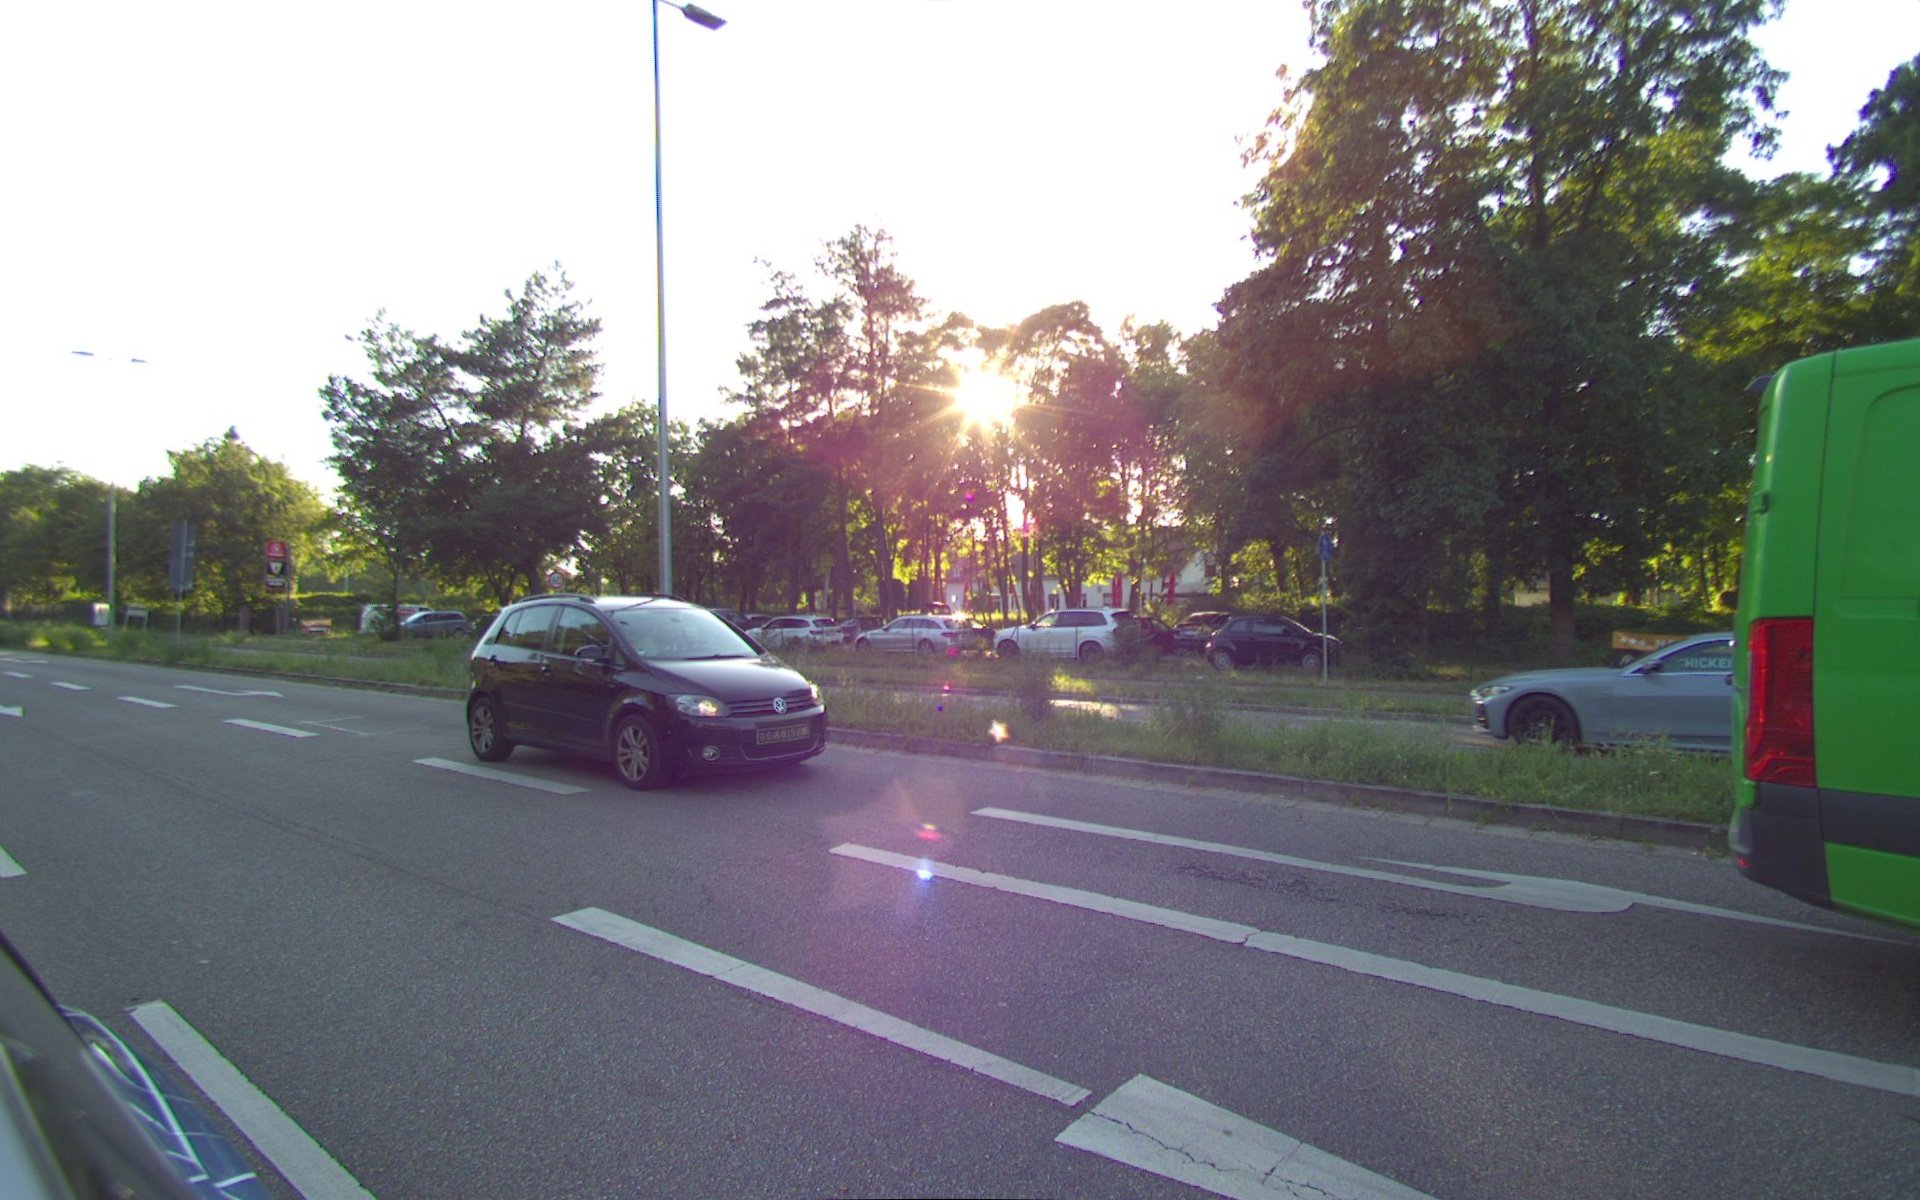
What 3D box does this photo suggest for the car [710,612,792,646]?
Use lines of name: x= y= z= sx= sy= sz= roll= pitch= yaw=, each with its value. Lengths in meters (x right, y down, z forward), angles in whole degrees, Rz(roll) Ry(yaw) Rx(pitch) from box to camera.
car: x=-10.901 y=1.509 z=52.951 sx=1.765 sy=1.663 sz=3.947 roll=-1 pitch=-2 yaw=40

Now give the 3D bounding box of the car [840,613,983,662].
car: x=-1.746 y=1.275 z=35.594 sx=4.913 sy=1.619 sz=1.975 roll=-1 pitch=-2 yaw=37

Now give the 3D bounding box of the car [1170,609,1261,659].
car: x=9.000 y=1.160 z=35.445 sx=1.914 sy=1.663 sz=3.954 roll=-1 pitch=-1 yaw=34

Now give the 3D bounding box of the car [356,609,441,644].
car: x=-32.531 y=1.508 z=58.681 sx=1.764 sy=1.959 sz=3.949 roll=-1 pitch=-2 yaw=38

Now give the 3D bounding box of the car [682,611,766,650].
car: x=-9.774 y=1.261 z=42.023 sx=1.657 sy=1.538 sz=3.060 roll=-1 pitch=-2 yaw=38

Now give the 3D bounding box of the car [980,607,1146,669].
car: x=3.173 y=1.165 z=31.807 sx=4.913 sy=1.800 sz=1.975 roll=-1 pitch=-2 yaw=37

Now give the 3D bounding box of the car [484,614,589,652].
car: x=-20.803 y=1.613 z=49.847 sx=1.908 sy=1.767 sz=4.441 roll=-1 pitch=-2 yaw=39

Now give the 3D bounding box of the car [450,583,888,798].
car: x=-2.799 y=0.700 z=9.385 sx=3.995 sy=1.564 sz=1.974 roll=-1 pitch=-2 yaw=39

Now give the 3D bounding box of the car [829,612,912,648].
car: x=-4.320 y=1.437 z=49.049 sx=1.765 sy=1.663 sz=3.947 roll=-1 pitch=-2 yaw=39

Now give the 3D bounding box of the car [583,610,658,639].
car: x=-20.496 y=1.494 z=61.241 sx=1.765 sy=1.663 sz=3.947 roll=-1 pitch=-2 yaw=40

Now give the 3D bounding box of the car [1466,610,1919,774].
car: x=8.021 y=0.851 z=10.677 sx=4.497 sy=1.452 sz=1.872 roll=-1 pitch=-2 yaw=40

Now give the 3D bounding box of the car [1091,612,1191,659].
car: x=6.823 y=1.298 z=37.848 sx=1.918 sy=1.663 sz=3.944 roll=-1 pitch=-2 yaw=42

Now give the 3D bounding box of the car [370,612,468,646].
car: x=-30.246 y=1.598 z=56.673 sx=1.907 sy=1.811 sz=4.443 roll=-1 pitch=-2 yaw=38

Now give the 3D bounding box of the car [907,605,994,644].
car: x=-0.385 y=1.090 z=45.114 sx=1.765 sy=1.663 sz=3.947 roll=-1 pitch=-2 yaw=39

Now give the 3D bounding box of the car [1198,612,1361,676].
car: x=8.572 y=1.135 z=27.252 sx=3.807 sy=1.609 sz=1.838 roll=-1 pitch=-2 yaw=36

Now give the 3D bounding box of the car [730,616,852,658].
car: x=-6.605 y=1.405 z=39.297 sx=4.701 sy=1.560 sz=1.975 roll=-1 pitch=-2 yaw=37

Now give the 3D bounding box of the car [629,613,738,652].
car: x=-12.120 y=1.421 z=44.610 sx=1.769 sy=1.629 sz=4.470 roll=-1 pitch=-2 yaw=37

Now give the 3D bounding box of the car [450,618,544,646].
car: x=-23.094 y=1.573 z=50.605 sx=1.731 sy=1.322 sz=3.947 roll=-1 pitch=-2 yaw=39

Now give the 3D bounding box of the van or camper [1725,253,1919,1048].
van or camper: x=5.469 y=0.130 z=2.266 sx=5.891 sy=2.439 sz=1.973 roll=-1 pitch=-2 yaw=40
